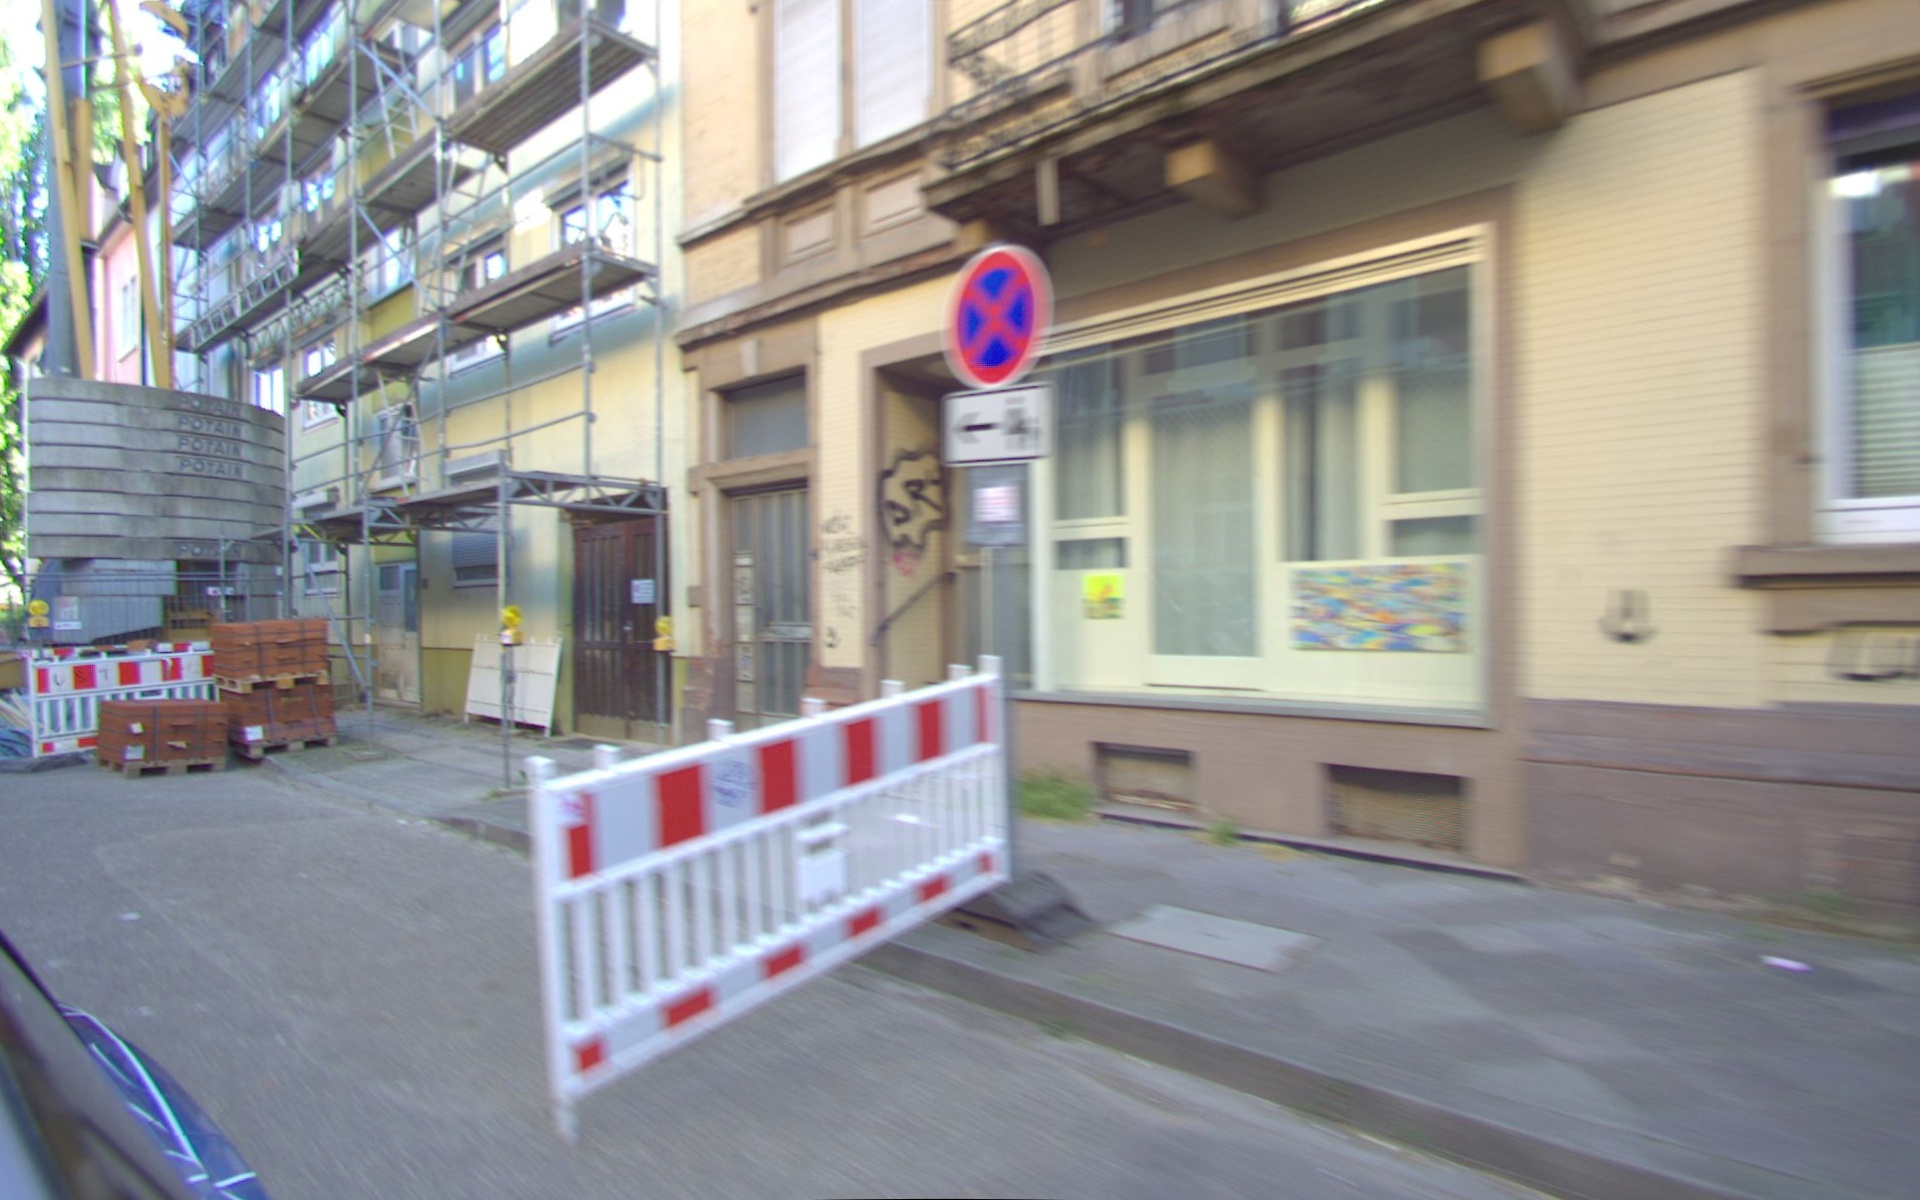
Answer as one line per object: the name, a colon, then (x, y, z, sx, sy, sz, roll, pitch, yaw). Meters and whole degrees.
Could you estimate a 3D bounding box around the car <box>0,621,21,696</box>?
car: (-21.693, 1.227, 21.742, 4.694, 1.520, 1.748, -1, -2, 41)
